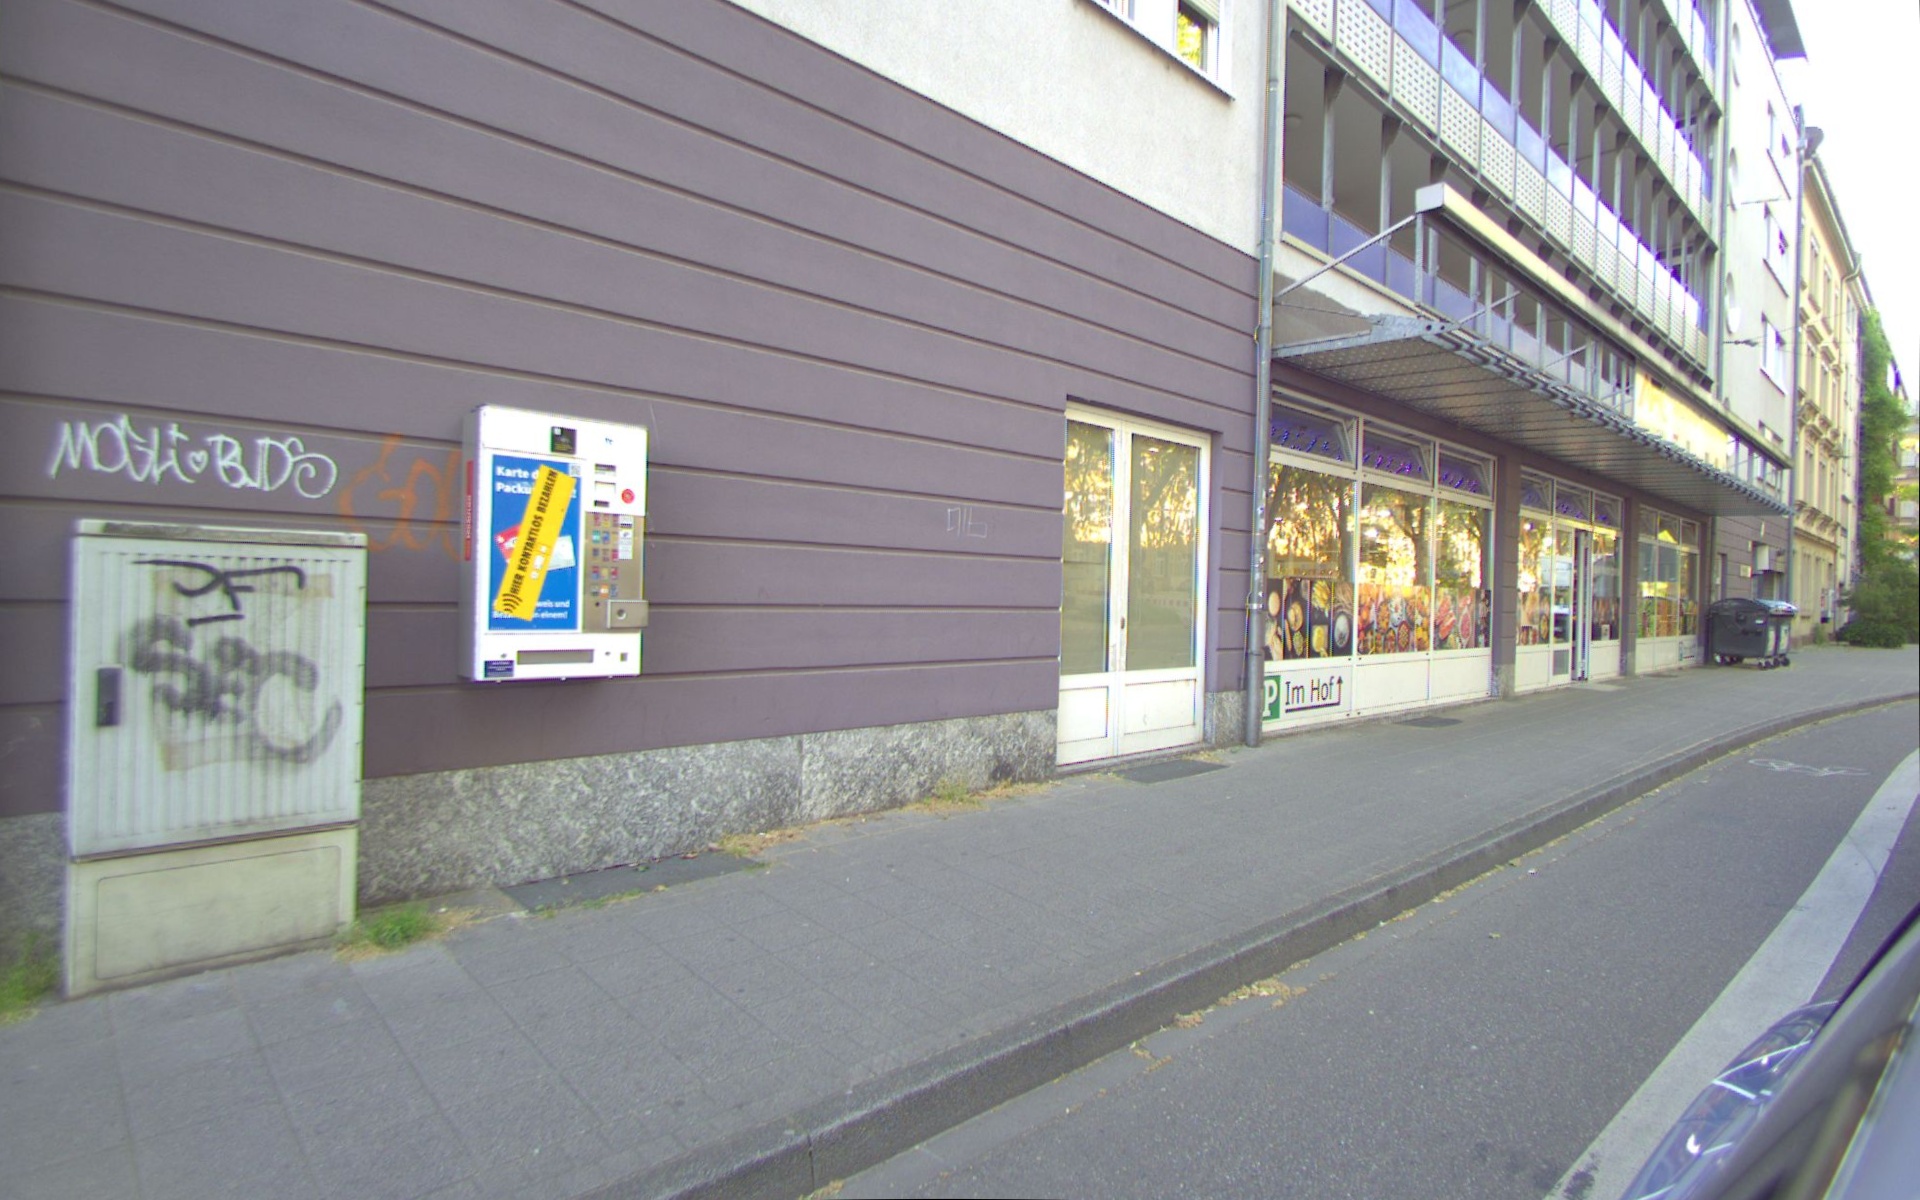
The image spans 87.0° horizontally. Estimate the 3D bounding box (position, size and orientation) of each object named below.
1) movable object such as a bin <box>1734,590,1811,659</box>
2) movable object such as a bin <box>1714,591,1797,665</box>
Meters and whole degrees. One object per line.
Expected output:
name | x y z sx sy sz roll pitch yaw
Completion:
movable object such as a bin | 17.773 0.513 22.140 0.923 1.444 1.158 1 1 -40
movable object such as a bin | 16.317 0.547 20.761 0.923 1.444 1.158 1 1 -40
